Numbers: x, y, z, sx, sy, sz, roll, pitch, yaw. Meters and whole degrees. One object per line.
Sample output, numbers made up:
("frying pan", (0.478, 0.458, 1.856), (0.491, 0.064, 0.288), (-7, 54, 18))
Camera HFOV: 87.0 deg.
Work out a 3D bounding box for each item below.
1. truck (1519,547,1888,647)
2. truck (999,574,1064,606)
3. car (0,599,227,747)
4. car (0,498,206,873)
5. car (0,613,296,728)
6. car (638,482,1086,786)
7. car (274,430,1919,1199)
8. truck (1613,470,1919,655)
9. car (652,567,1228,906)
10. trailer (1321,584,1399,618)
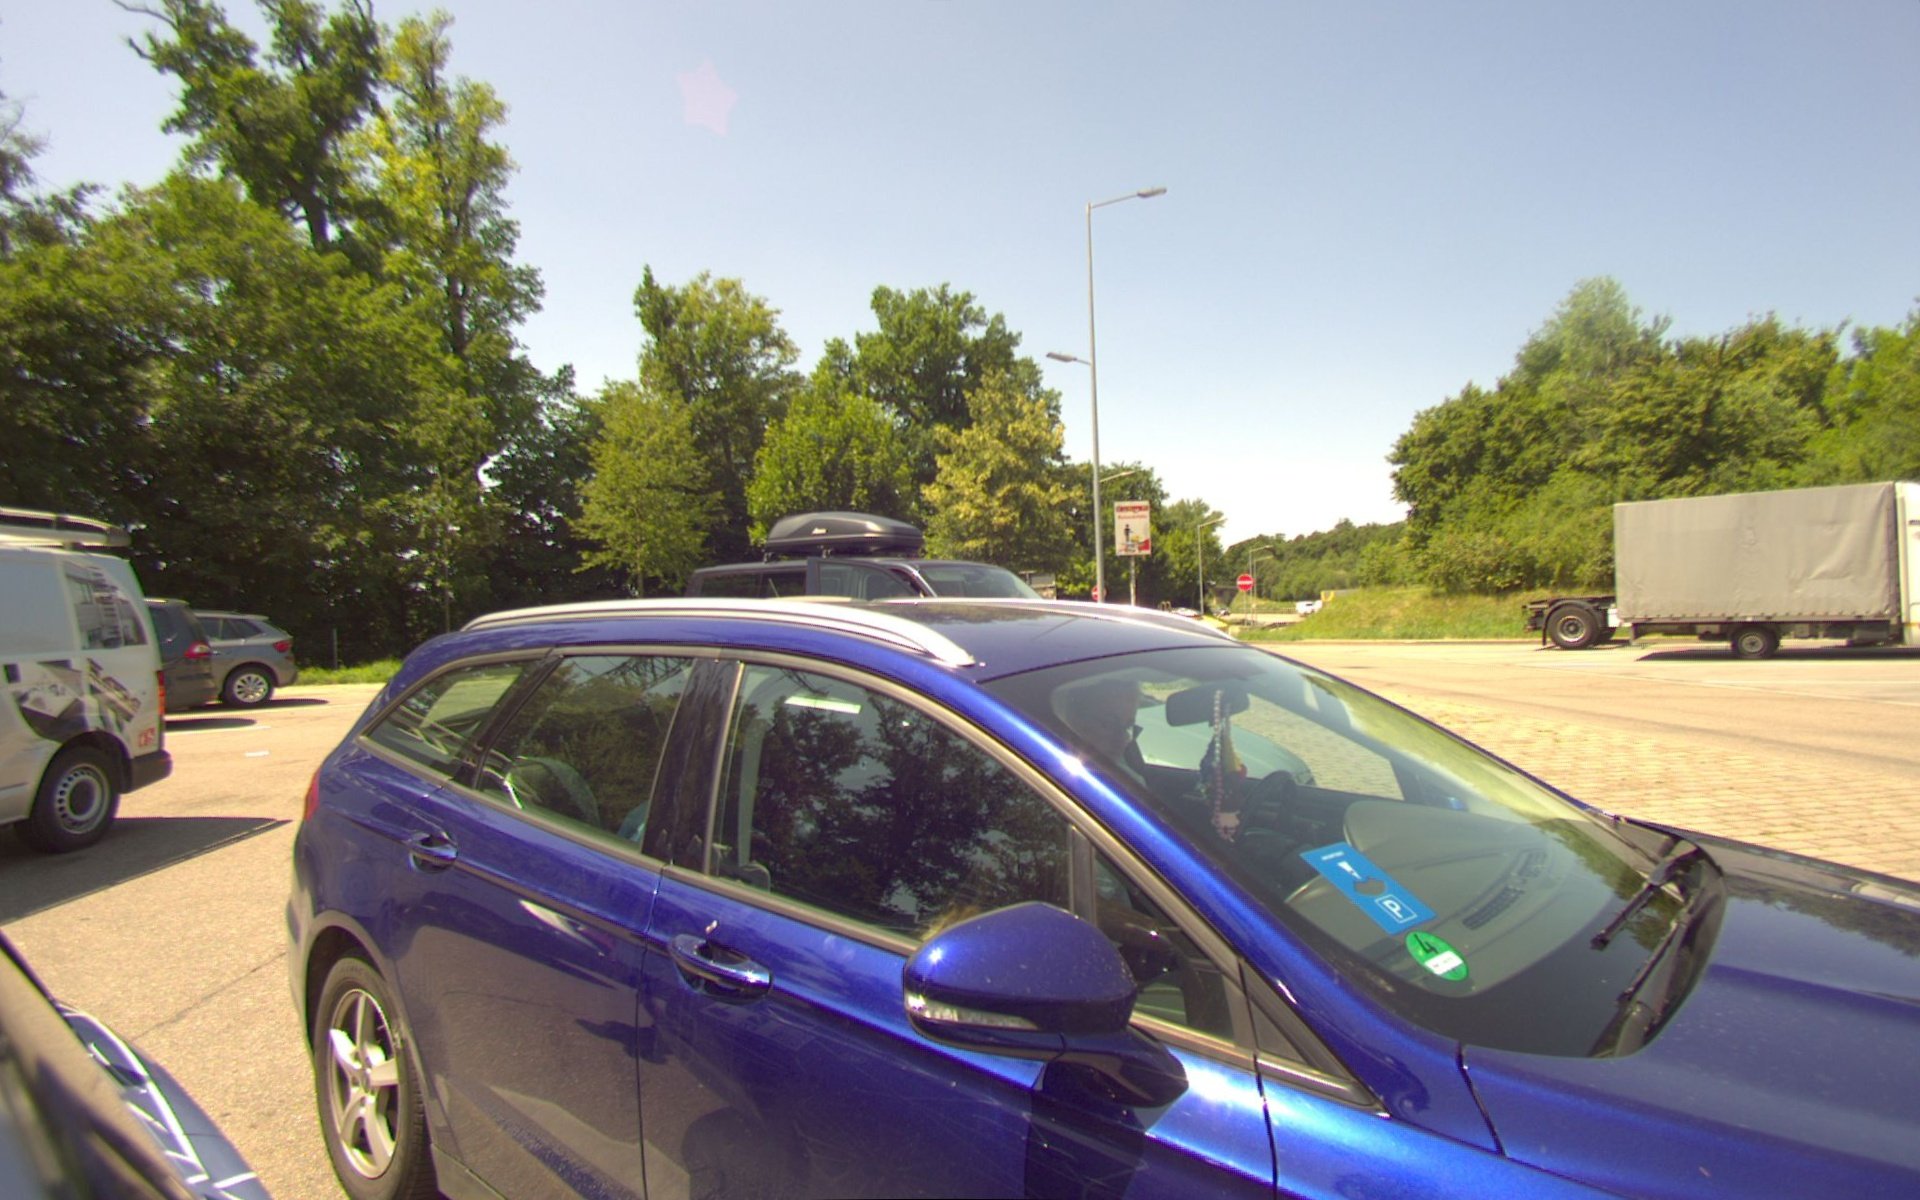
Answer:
("truck", (16.883, 0.037, 23.402), (6.613, 2.029, 1.973), (-2, -1, 41))
("truck", (3.441, -0.471, 48.749), (2.866, 1.386, 1.158), (-2, -1, 22))
("car", (-11.596, 0.874, 12.582), (1.755, 1.701, 3.798), (-2, -1, 45))
("car", (-6.251, 0.471, 4.705), (1.816, 2.121, 5.440), (0, -1, -5))
("car", (-12.541, 0.992, 15.688), (3.535, 1.513, 1.708), (-1, 0, -42))
("car", (-1.046, 0.324, 9.693), (4.076, 2.336, 1.767), (-2, -1, 35))
("car", (0.253, 0.633, 2.099), (4.411, 1.429, 1.721), (-2, -1, 41))
("truck", (16.621, -0.633, 18.789), (7.253, 3.175, 2.148), (-2, -1, 41))
("car", (-0.263, 0.591, 5.630), (3.112, 1.370, 1.326), (-2, -1, 41))
("trailer", (50.915, 0.210, 129.420), (2.459, 4.009, 14.765), (0, -1, -7))
